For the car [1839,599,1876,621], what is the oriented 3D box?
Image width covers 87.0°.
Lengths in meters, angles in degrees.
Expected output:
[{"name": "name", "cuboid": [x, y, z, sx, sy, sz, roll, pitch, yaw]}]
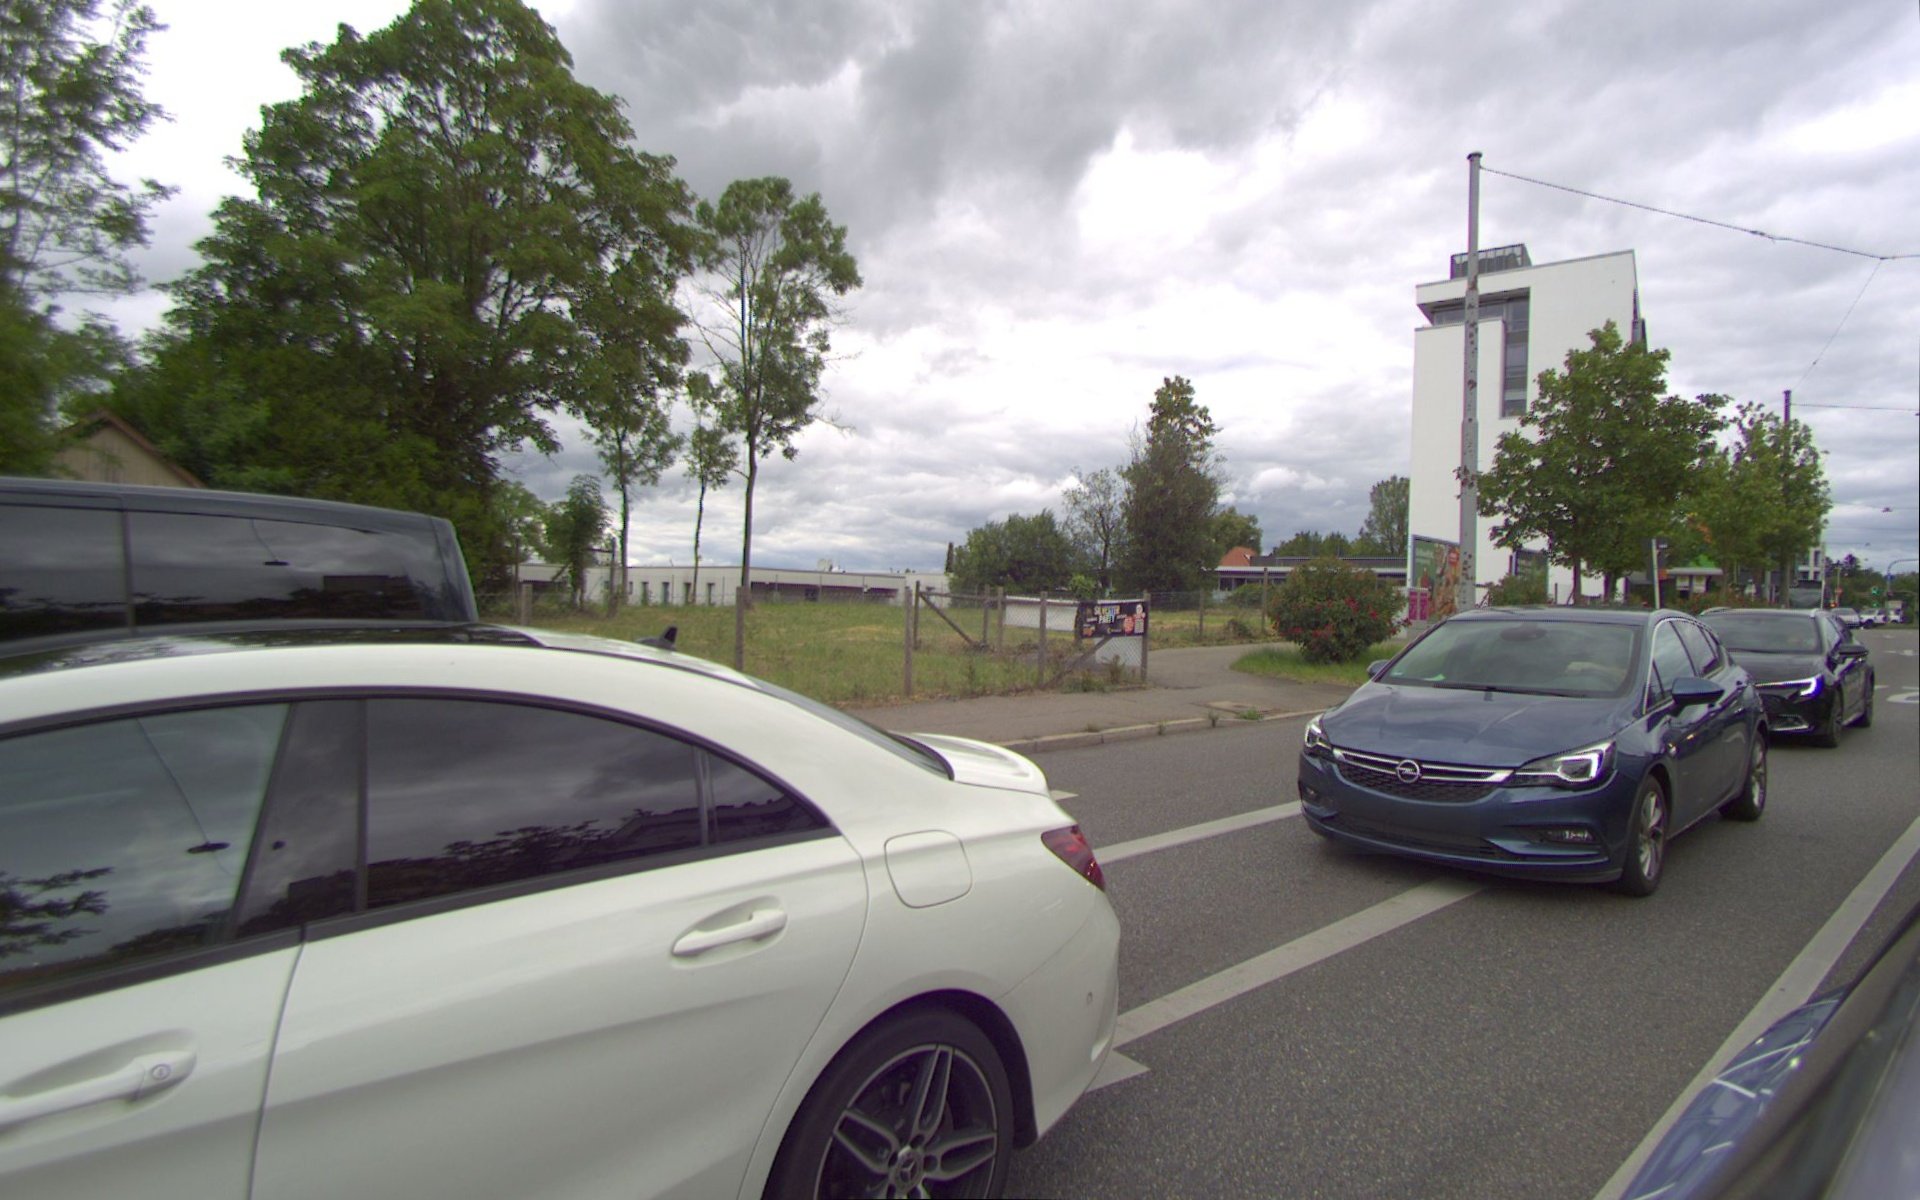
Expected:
[{"name": "car", "cuboid": [69.348, 0.758, 78.233, 1.843, 1.637, 3.731, -1, -1, 38]}]

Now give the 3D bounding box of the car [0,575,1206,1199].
[{"name": "car", "cuboid": [-1.540, 0.692, 1.814, 4.300, 1.451, 1.652, 0, 1, -41]}]

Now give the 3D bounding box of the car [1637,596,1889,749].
[{"name": "car", "cuboid": [9.345, 0.691, 11.670, 3.854, 1.475, 1.663, 0, 0, -42]}]

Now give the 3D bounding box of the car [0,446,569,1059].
[{"name": "car", "cuboid": [-4.001, 0.470, 3.438, 4.627, 1.863, 1.952, 0, -1, -41]}]

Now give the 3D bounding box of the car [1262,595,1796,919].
[{"name": "car", "cuboid": [3.808, 0.688, 6.482, 3.931, 1.428, 1.825, 0, 0, -42]}]

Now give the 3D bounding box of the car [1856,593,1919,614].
[{"name": "car", "cuboid": [85.075, 0.334, 92.877, 4.057, 1.910, 1.853, 0, -1, 0]}]

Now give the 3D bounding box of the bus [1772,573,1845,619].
[{"name": "bus", "cuboid": [53.949, -0.311, 64.577, 2.952, 2.664, 11.986, 0, 1, 37]}]

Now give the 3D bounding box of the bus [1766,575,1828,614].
[{"name": "bus", "cuboid": [61.415, -0.444, 74.477, 2.952, 2.664, 12.751, 0, 1, 37]}]
